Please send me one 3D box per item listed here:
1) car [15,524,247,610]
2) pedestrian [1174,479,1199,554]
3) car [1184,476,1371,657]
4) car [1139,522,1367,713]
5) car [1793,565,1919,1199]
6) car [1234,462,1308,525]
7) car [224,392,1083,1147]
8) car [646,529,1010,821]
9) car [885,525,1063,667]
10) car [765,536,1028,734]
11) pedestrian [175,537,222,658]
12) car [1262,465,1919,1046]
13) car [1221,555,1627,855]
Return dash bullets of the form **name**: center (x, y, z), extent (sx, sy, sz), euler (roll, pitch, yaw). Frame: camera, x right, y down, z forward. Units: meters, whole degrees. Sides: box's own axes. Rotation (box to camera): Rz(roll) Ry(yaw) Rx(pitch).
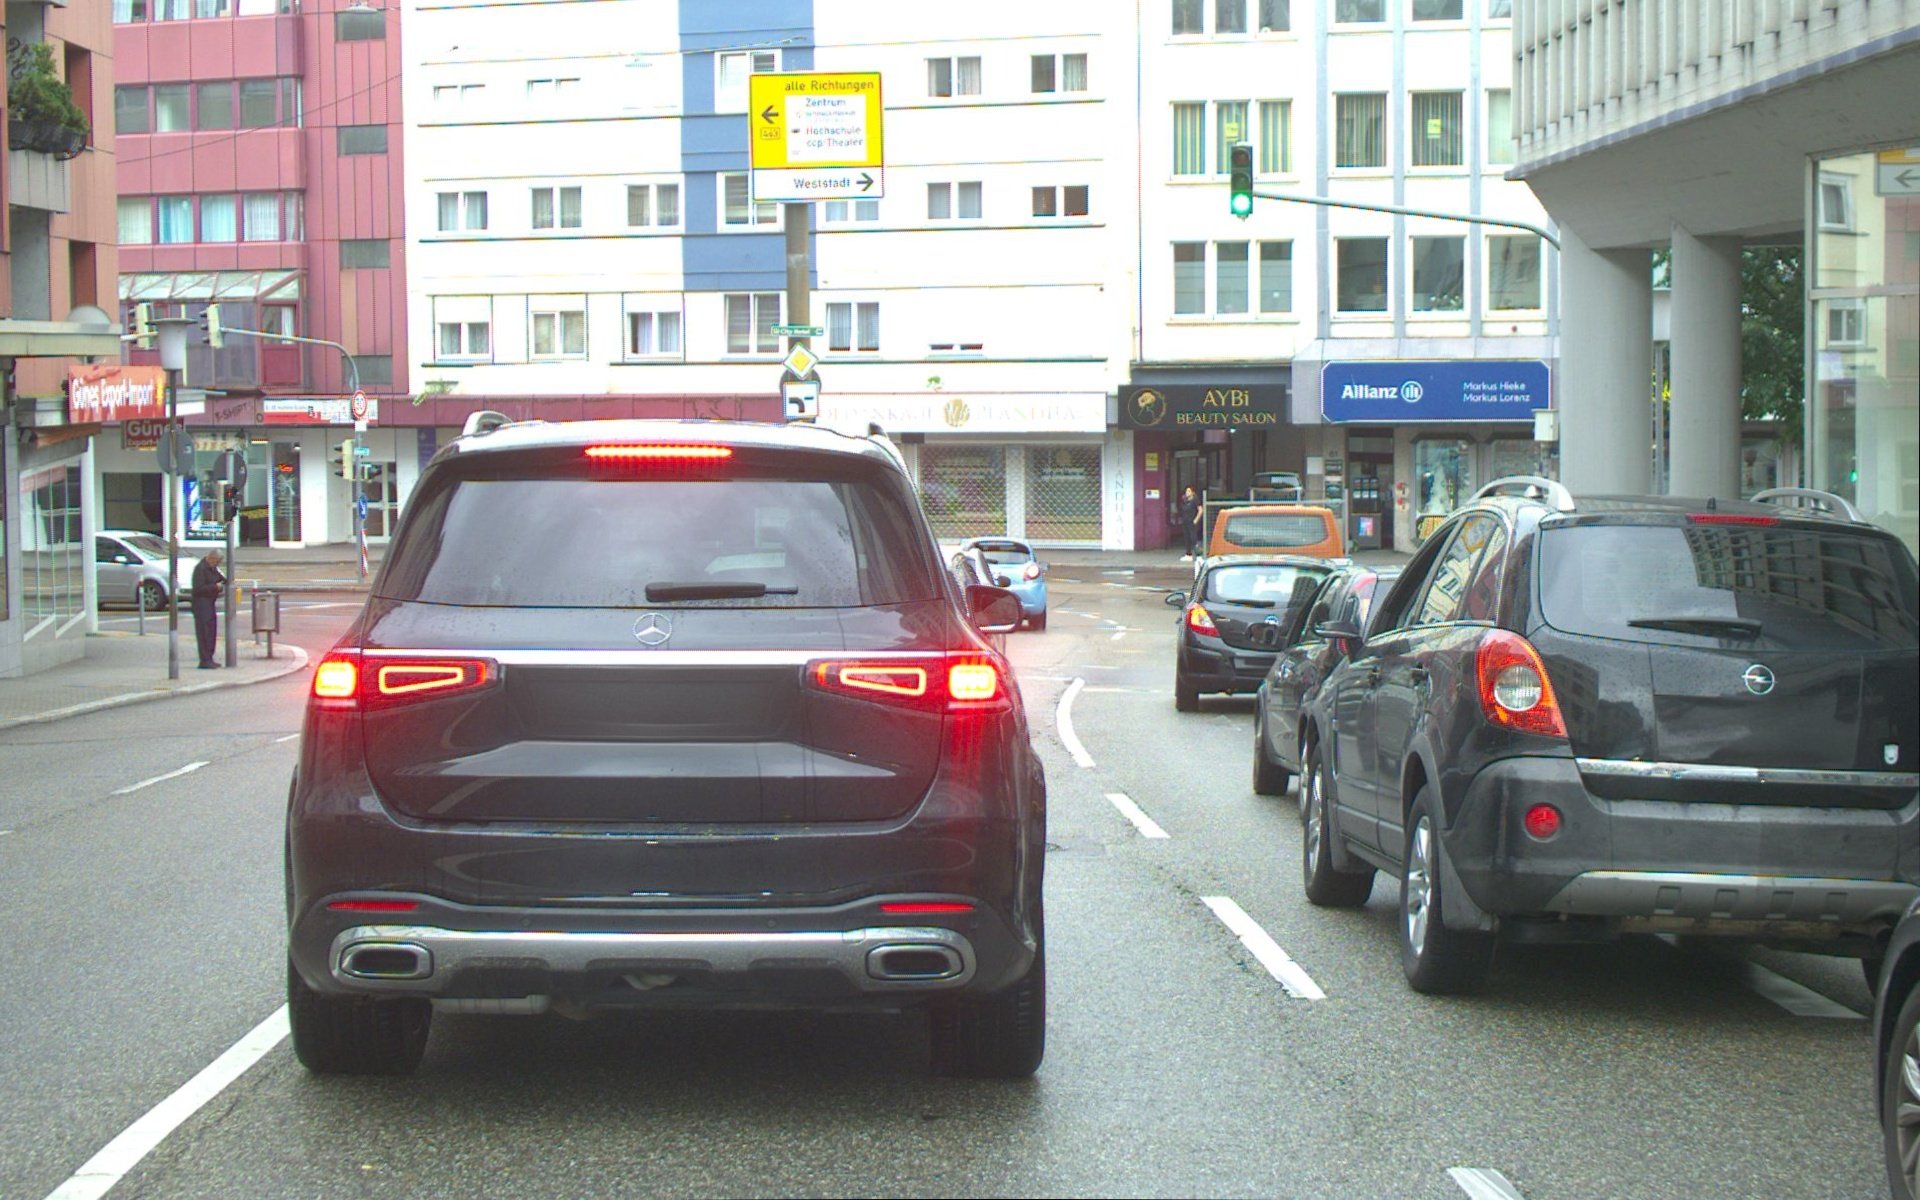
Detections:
- **car**: center (-16.612, -0.672, 68.921), extent (4.165, 1.587, 1.740), euler (2, 2, 15)
- **pedestrian**: center (5.354, -1.975, 81.175), extent (0.564, 1.683, 0.756), euler (0, 7, 6)
- **car**: center (4.155, -0.461, 45.801), extent (2.243, 2.220, 5.428), euler (1, 1, 3)
- **car**: center (2.725, 0.138, 32.862), extent (1.823, 1.653, 4.495), euler (1, 0, 1)
- **car**: center (2.919, 0.740, 6.102), extent (1.688, 1.472, 4.001), euler (3, 1, -2)
- **car**: center (8.496, -2.883, 93.722), extent (1.797, 1.664, 3.999), euler (0, 1, 8)
- **car**: center (-0.830, 0.363, 10.621), extent (2.038, 1.792, 4.663), euler (1, 1, -2)
- **car**: center (-0.778, 0.347, 20.162), extent (1.873, 1.489, 4.401), euler (1, 1, -2)
- **car**: center (0.124, -0.033, 40.494), extent (1.924, 1.510, 4.663), euler (2, 0, -1)
- **car**: center (-0.511, 0.228, 28.385), extent (1.993, 1.481, 4.237), euler (-1, 1, -1)
- **pedestrian**: center (-10.737, -0.041, 48.474), extent (0.554, 1.691, 0.624), euler (0, 1, -4)
- **car**: center (2.364, 0.435, 12.639), extent (1.897, 1.689, 4.506), euler (3, 1, -2)
- **car**: center (2.560, 0.520, 19.848), extent (1.767, 1.392, 4.000), euler (4, 1, 1)
